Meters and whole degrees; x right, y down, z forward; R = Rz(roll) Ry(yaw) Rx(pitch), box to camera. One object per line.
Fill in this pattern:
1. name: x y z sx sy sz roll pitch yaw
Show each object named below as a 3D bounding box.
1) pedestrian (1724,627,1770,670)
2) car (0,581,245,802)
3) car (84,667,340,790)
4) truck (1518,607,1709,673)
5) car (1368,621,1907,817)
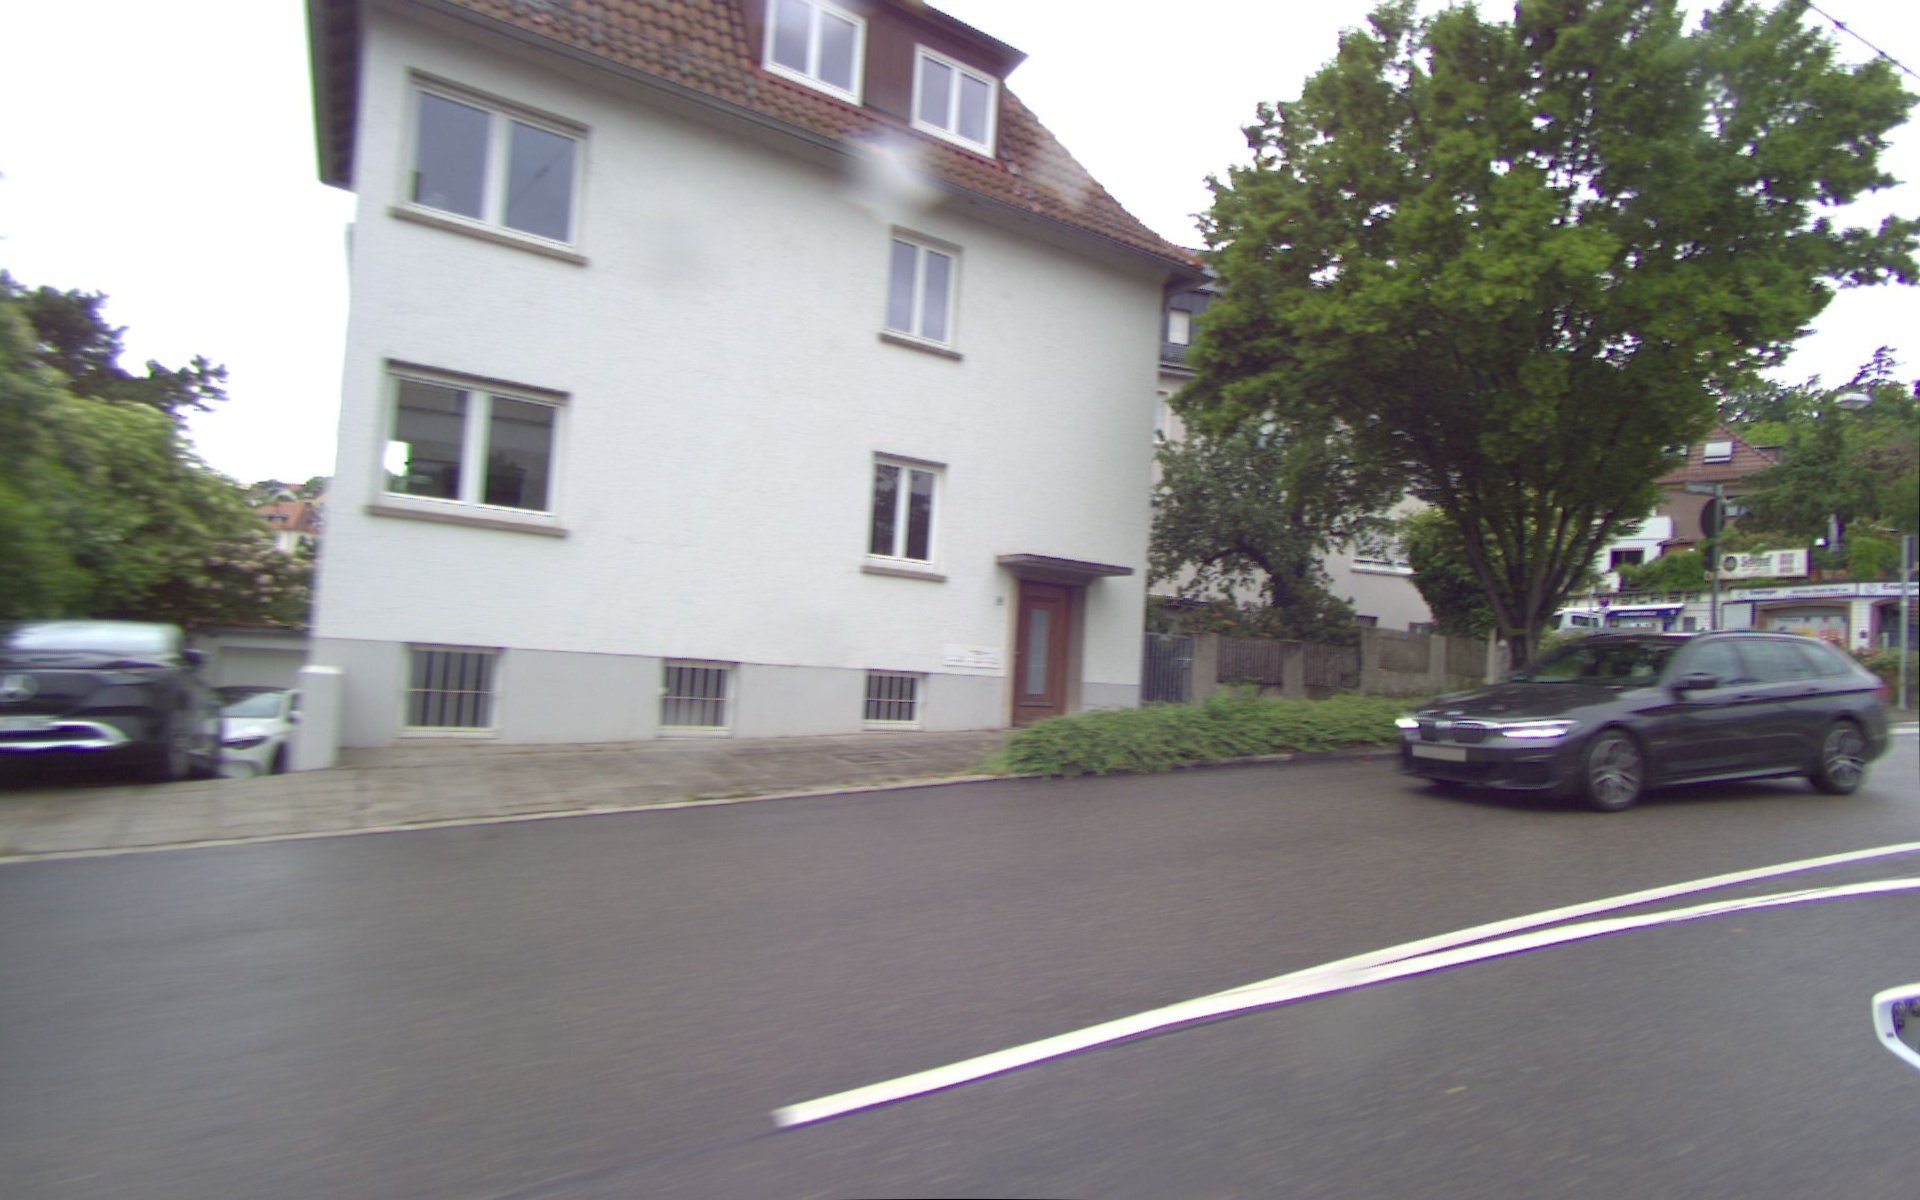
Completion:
1. pedestrian: 28.818 1.763 36.792 0.874 1.525 0.977 1 1 -9
2. car: -8.108 0.676 9.358 1.978 1.645 4.217 2 -1 -31
3. car: -10.282 1.895 14.191 1.831 1.369 3.924 0 -11 -21
4. truck: 25.678 1.499 39.923 2.274 2.299 6.795 2 0 -11
5. car: 6.340 0.968 9.452 4.566 1.511 1.868 0 -2 -20
